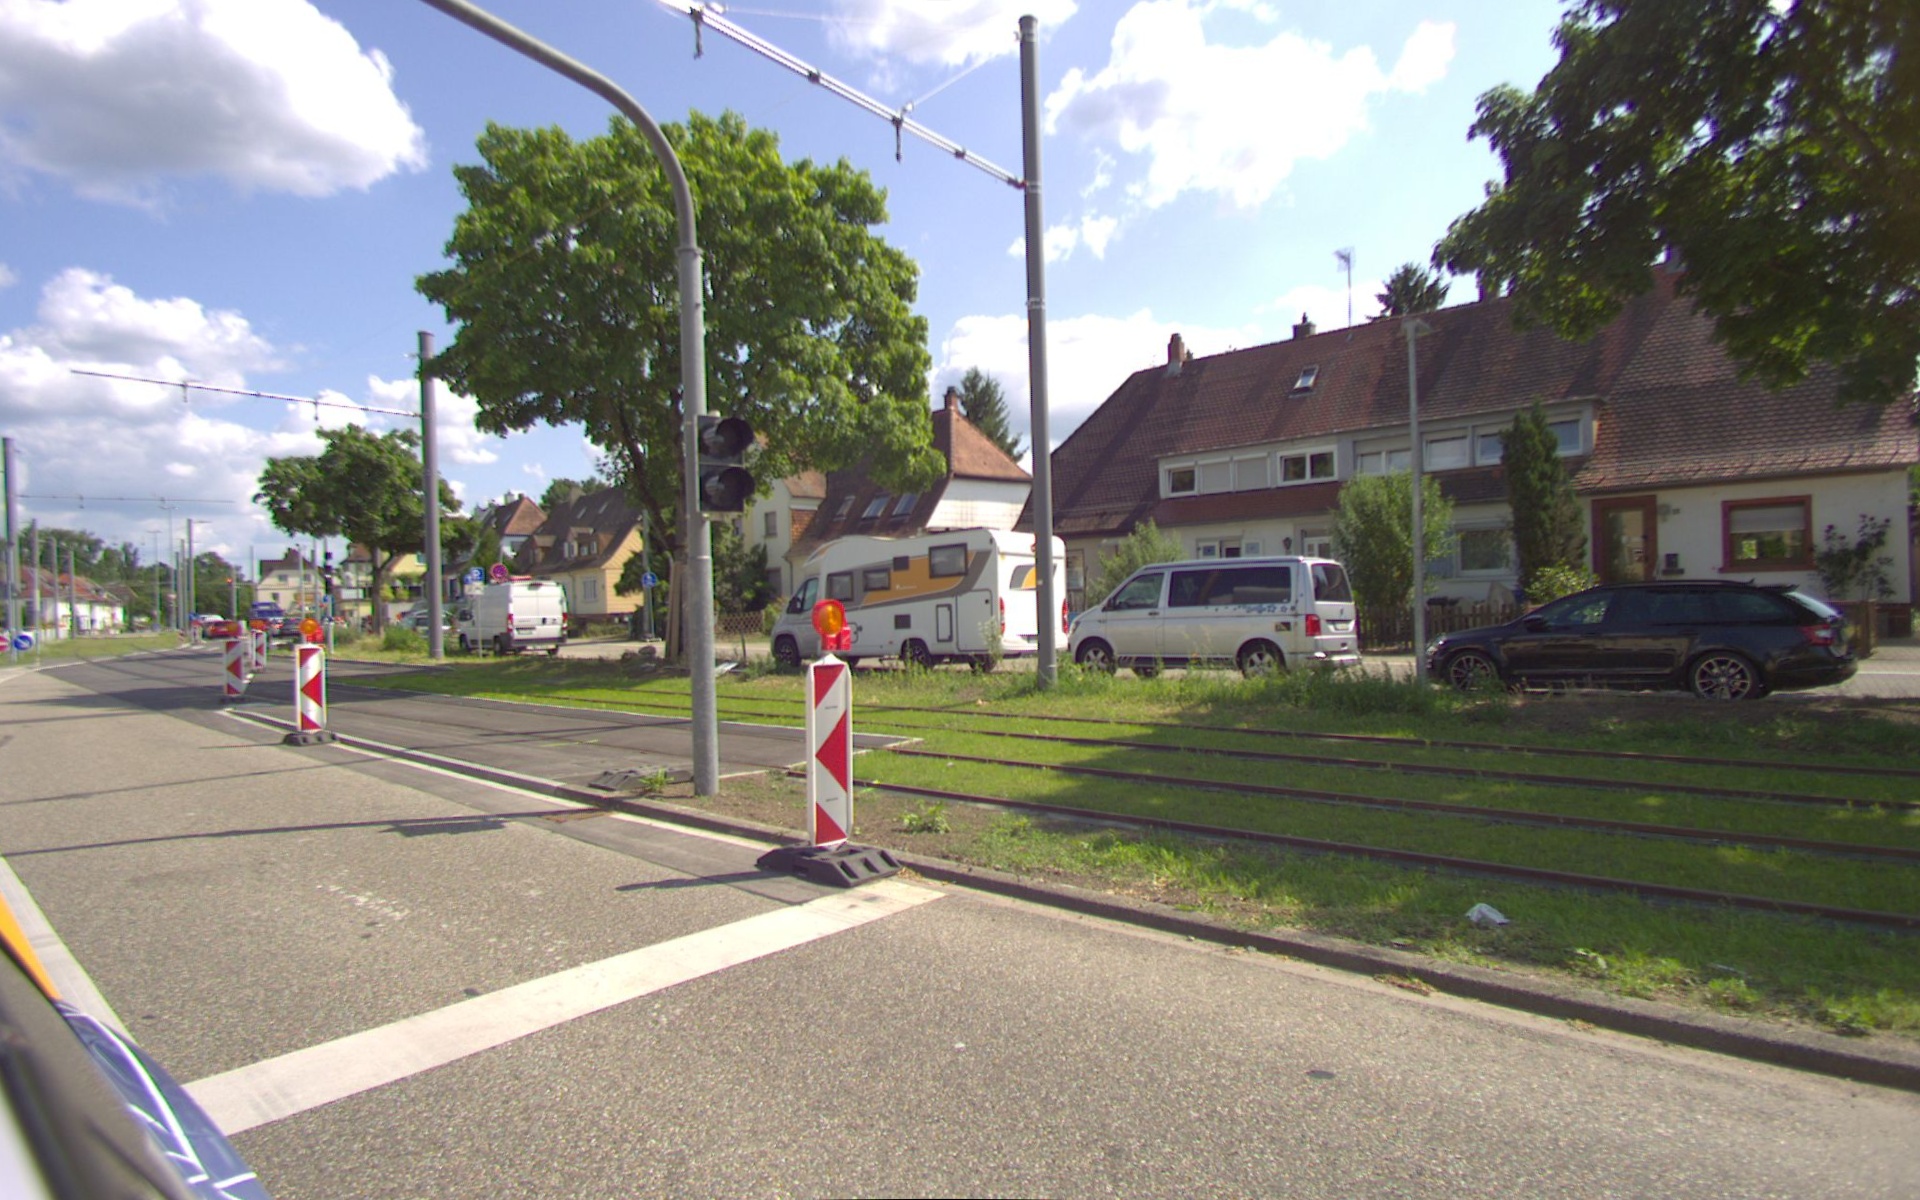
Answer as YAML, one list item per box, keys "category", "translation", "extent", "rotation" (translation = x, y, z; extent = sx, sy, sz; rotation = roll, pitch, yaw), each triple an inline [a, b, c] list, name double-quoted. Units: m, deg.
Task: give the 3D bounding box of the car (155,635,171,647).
- category: "car"
  translation: [-153.599, 7.867, 195.044]
  extent: [2.028, 2.023, 4.961]
  rotation: [-1, 0, -36]

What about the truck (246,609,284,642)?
- category: "truck"
  translation: [-70.318, 2.584, 102.332]
  extent: [2.799, 3.178, 7.951]
  rotation: [-2, 0, -37]

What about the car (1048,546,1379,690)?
- category: "car"
  translation: [4.032, 0.295, 16.689]
  extent: [4.902, 2.029, 1.973]
  rotation: [-2, 0, 42]

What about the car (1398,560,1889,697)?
- category: "car"
  translation: [8.310, 0.328, 12.695]
  extent: [1.831, 1.397, 4.812]
  rotation: [-2, 0, -44]

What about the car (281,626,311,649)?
- category: "car"
  translation: [-48.340, 2.687, 73.639]
  extent: [1.702, 1.538, 4.783]
  rotation: [-2, 0, -34]

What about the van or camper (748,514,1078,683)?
- category: "van or camper"
  translation: [-1.233, 0.047, 21.232]
  extent: [7.293, 2.992, 2.351]
  rotation: [-2, -1, 42]

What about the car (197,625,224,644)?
- category: "car"
  translation: [-67.641, 3.127, 91.335]
  extent: [1.704, 1.574, 4.549]
  rotation: [-2, 0, -40]

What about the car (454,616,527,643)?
- category: "car"
  translation: [-30.453, 1.924, 65.677]
  extent: [1.761, 1.556, 3.907]
  rotation: [-2, 0, 42]

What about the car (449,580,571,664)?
- category: "car"
  translation: [-15.576, 0.746, 34.912]
  extent: [4.918, 2.688, 2.129]
  rotation: [-2, 0, 44]

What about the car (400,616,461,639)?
- category: "car"
  translation: [-41.312, 2.130, 79.006]
  extent: [3.832, 1.567, 1.683]
  rotation: [-2, 0, -43]

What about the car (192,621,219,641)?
- category: "car"
  translation: [-76.665, 3.148, 102.798]
  extent: [1.894, 1.979, 4.549]
  rotation: [-2, 0, -40]

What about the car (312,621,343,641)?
- category: "car"
  translation: [-54.890, 2.680, 87.801]
  extent: [1.703, 1.574, 4.550]
  rotation: [-2, 0, -39]

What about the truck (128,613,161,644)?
- category: "truck"
  translation: [-145.069, 5.067, 180.066]
  extent: [3.421, 5.223, 14.253]
  rotation: [-2, 0, -35]

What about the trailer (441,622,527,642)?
- category: "trailer"
  translation: [-31.802, 2.111, 67.726]
  extent: [4.863, 1.133, 1.962]
  rotation: [-2, 0, -43]

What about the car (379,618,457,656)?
- category: "car"
  translation: [-23.122, 1.553, 43.084]
  extent: [1.672, 1.476, 4.759]
  rotation: [-2, 0, -44]

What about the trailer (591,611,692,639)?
- category: "trailer"
  translation: [-18.298, 1.420, 58.317]
  extent: [5.191, 1.404, 2.027]
  rotation: [-2, 0, -41]

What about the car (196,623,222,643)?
- category: "car"
  translation: [-71.724, 3.140, 96.600]
  extent: [1.704, 1.868, 4.549]
  rotation: [-2, 0, -40]

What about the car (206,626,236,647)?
- category: "car"
  translation: [-58.598, 2.858, 80.180]
  extent: [1.703, 1.574, 4.550]
  rotation: [-2, 0, -39]

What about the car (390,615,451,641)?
- category: "car"
  translation: [-43.253, 2.216, 81.220]
  extent: [3.940, 1.859, 1.804]
  rotation: [-2, 0, -43]
